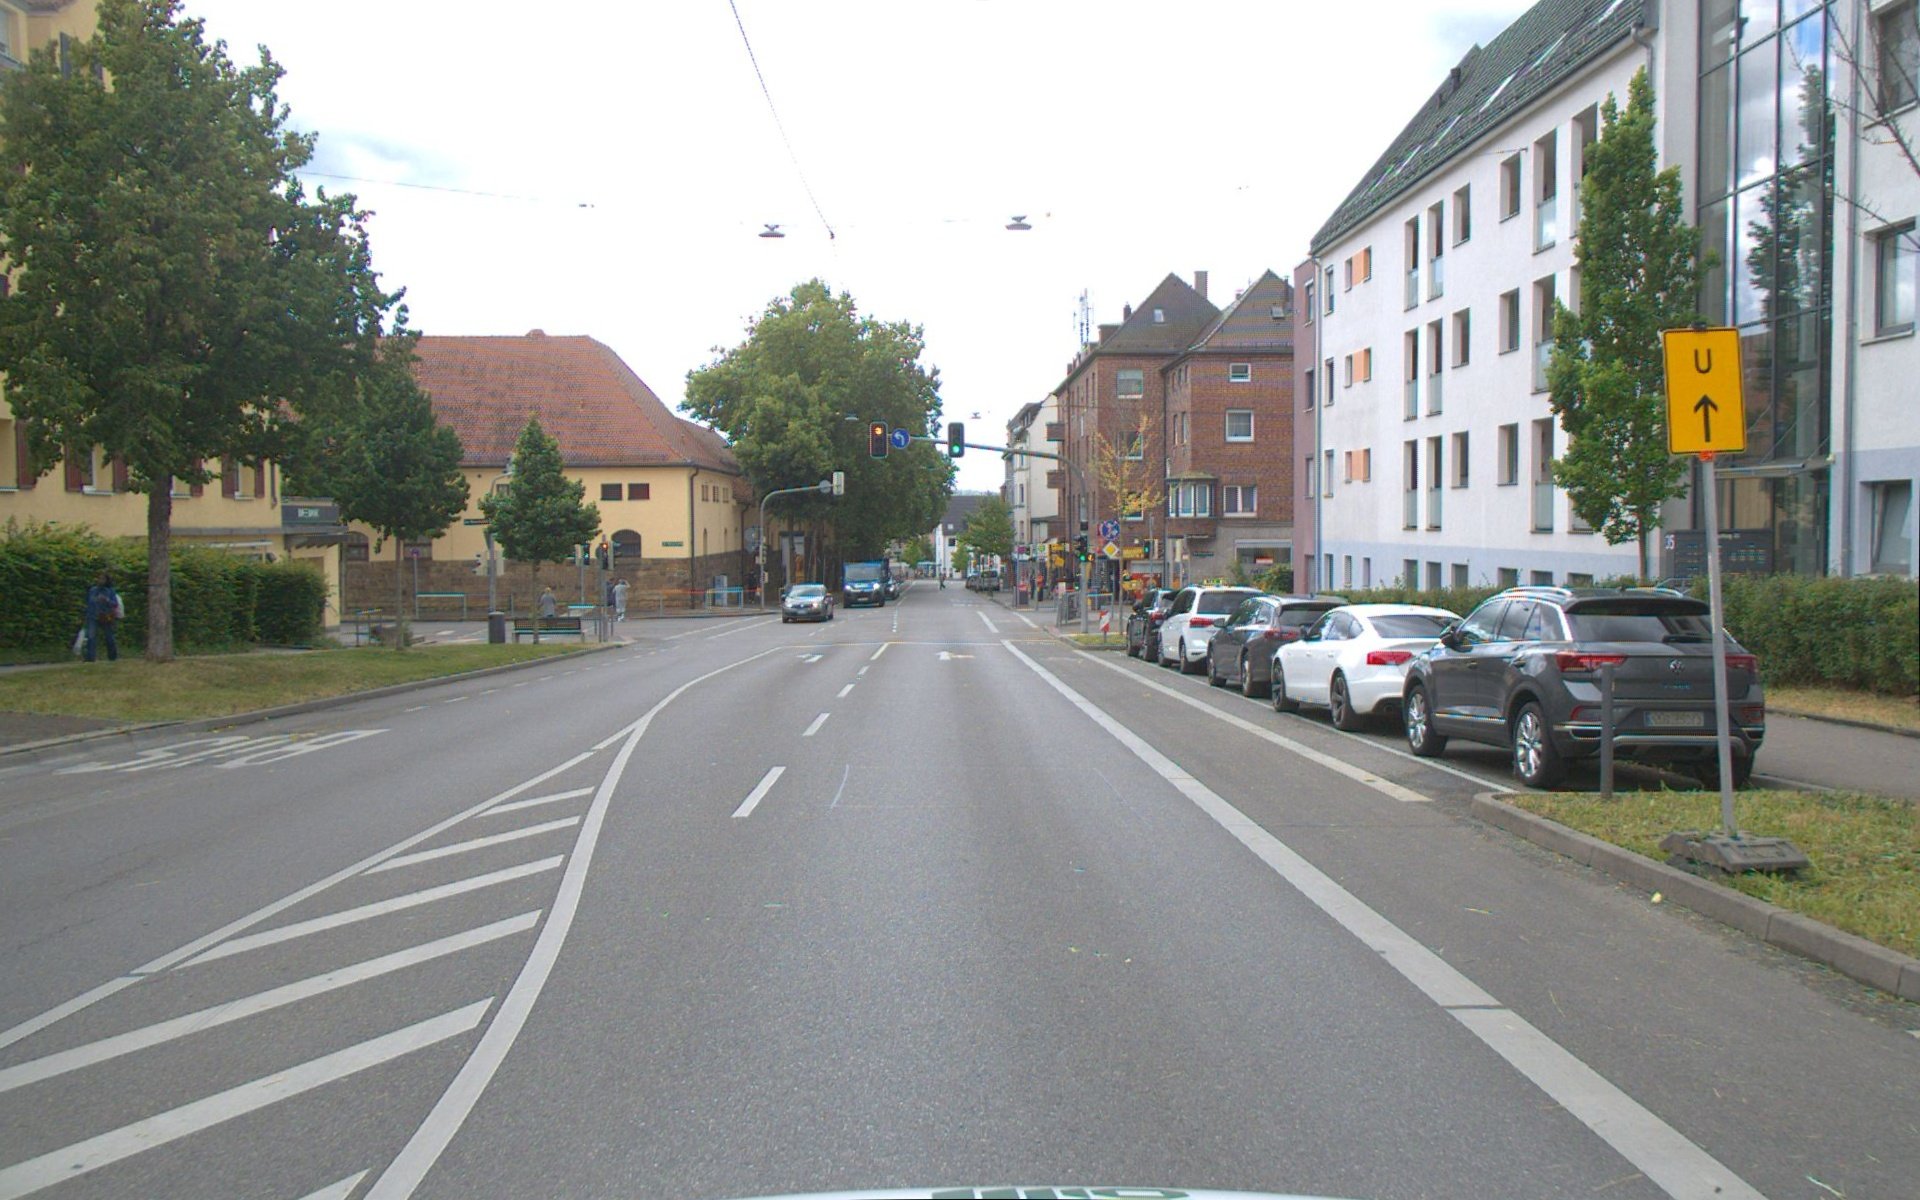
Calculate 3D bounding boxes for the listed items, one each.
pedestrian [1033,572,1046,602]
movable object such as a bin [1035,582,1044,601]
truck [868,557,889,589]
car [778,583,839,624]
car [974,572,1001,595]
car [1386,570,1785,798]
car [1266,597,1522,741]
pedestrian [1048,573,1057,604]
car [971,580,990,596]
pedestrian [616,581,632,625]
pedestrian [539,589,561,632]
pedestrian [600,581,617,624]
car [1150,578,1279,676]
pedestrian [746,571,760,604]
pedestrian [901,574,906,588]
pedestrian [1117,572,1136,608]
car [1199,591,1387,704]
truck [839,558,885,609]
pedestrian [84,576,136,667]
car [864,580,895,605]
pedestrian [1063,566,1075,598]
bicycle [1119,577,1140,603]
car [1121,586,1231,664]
[{"bbox_3d":[4.512,-0.738,93.437,0.553,1.665,0.681,0,1,19],"label":"pedestrian"},{"bbox_3d":[4.480,-0.460,93.231,0.443,1.075,0.410,0,0,19],"label":"movable object such as a bin"},{"bbox_3d":[-8.936,-2.951,181.849,2.186,3.404,7.447,0,1,-2],"label":"truck"},{"bbox_3d":[-5.988,0.106,65.670,1.719,1.498,4.309,-1,1,3],"label":"car"},{"bbox_3d":[2.422,-1.476,145.822,1.954,1.969,4.915,0,1,-4],"label":"car"},{"bbox_3d":[5.240,0.616,14.528,1.599,1.679,4.353,1,0,-4],"label":"car"},{"bbox_3d":[5.007,0.728,19.733,1.695,1.438,4.498,1,1,-2],"label":"car"},{"bbox_3d":[5.461,-0.687,97.678,0.469,1.795,0.458,0,0,-1],"label":"pedestrian"},{"bbox_3d":[2.093,-1.224,169.745,1.635,1.574,3.754,0,1,-4],"label":"car"},{"bbox_3d":[-13.940,0.102,68.617,0.552,1.808,0.717,0,1,-1],"label":"pedestrian"},{"bbox_3d":[-15.492,0.386,62.532,0.552,1.594,0.843,0,1,4],"label":"pedestrian"},{"bbox_3d":[-14.709,0.103,69.185,0.552,1.808,0.842,0,1,-1],"label":"pedestrian"},{"bbox_3d":[4.875,0.456,32.222,1.625,1.745,4.550,1,1,-2],"label":"car"},{"bbox_3d":[-11.437,-0.684,91.396,0.660,1.795,0.726,0,0,2],"label":"pedestrian"},{"bbox_3d":[-8.373,-2.751,244.844,0.620,2.049,0.784,0,1,1],"label":"pedestrian"},{"bbox_3d":[8.095,-0.495,80.272,0.772,1.685,0.772,-3,1,-1],"label":"pedestrian"},{"bbox_3d":[4.992,0.645,25.492,1.710,1.493,4.947,1,1,-2],"label":"car"},{"bbox_3d":[-5.076,-0.863,85.761,2.250,2.469,6.407,-2,1,-3],"label":"truck"},{"bbox_3d":[-15.600,0.380,30.360,0.627,1.647,0.617,0,1,-2],"label":"pedestrian"},{"bbox_3d":[-5.023,-0.486,104.016,1.668,1.439,4.193,-2,1,1],"label":"car"},{"bbox_3d":[5.976,-0.995,90.592,0.633,1.780,0.778,0,1,4],"label":"pedestrian"},{"bbox_3d":[8.174,-0.502,79.890,0.744,1.214,2.391,0,1,-1],"label":"bicycle"},{"bbox_3d":[4.792,0.521,37.277,1.699,1.616,4.571,1,0,-2],"label":"car"}]
